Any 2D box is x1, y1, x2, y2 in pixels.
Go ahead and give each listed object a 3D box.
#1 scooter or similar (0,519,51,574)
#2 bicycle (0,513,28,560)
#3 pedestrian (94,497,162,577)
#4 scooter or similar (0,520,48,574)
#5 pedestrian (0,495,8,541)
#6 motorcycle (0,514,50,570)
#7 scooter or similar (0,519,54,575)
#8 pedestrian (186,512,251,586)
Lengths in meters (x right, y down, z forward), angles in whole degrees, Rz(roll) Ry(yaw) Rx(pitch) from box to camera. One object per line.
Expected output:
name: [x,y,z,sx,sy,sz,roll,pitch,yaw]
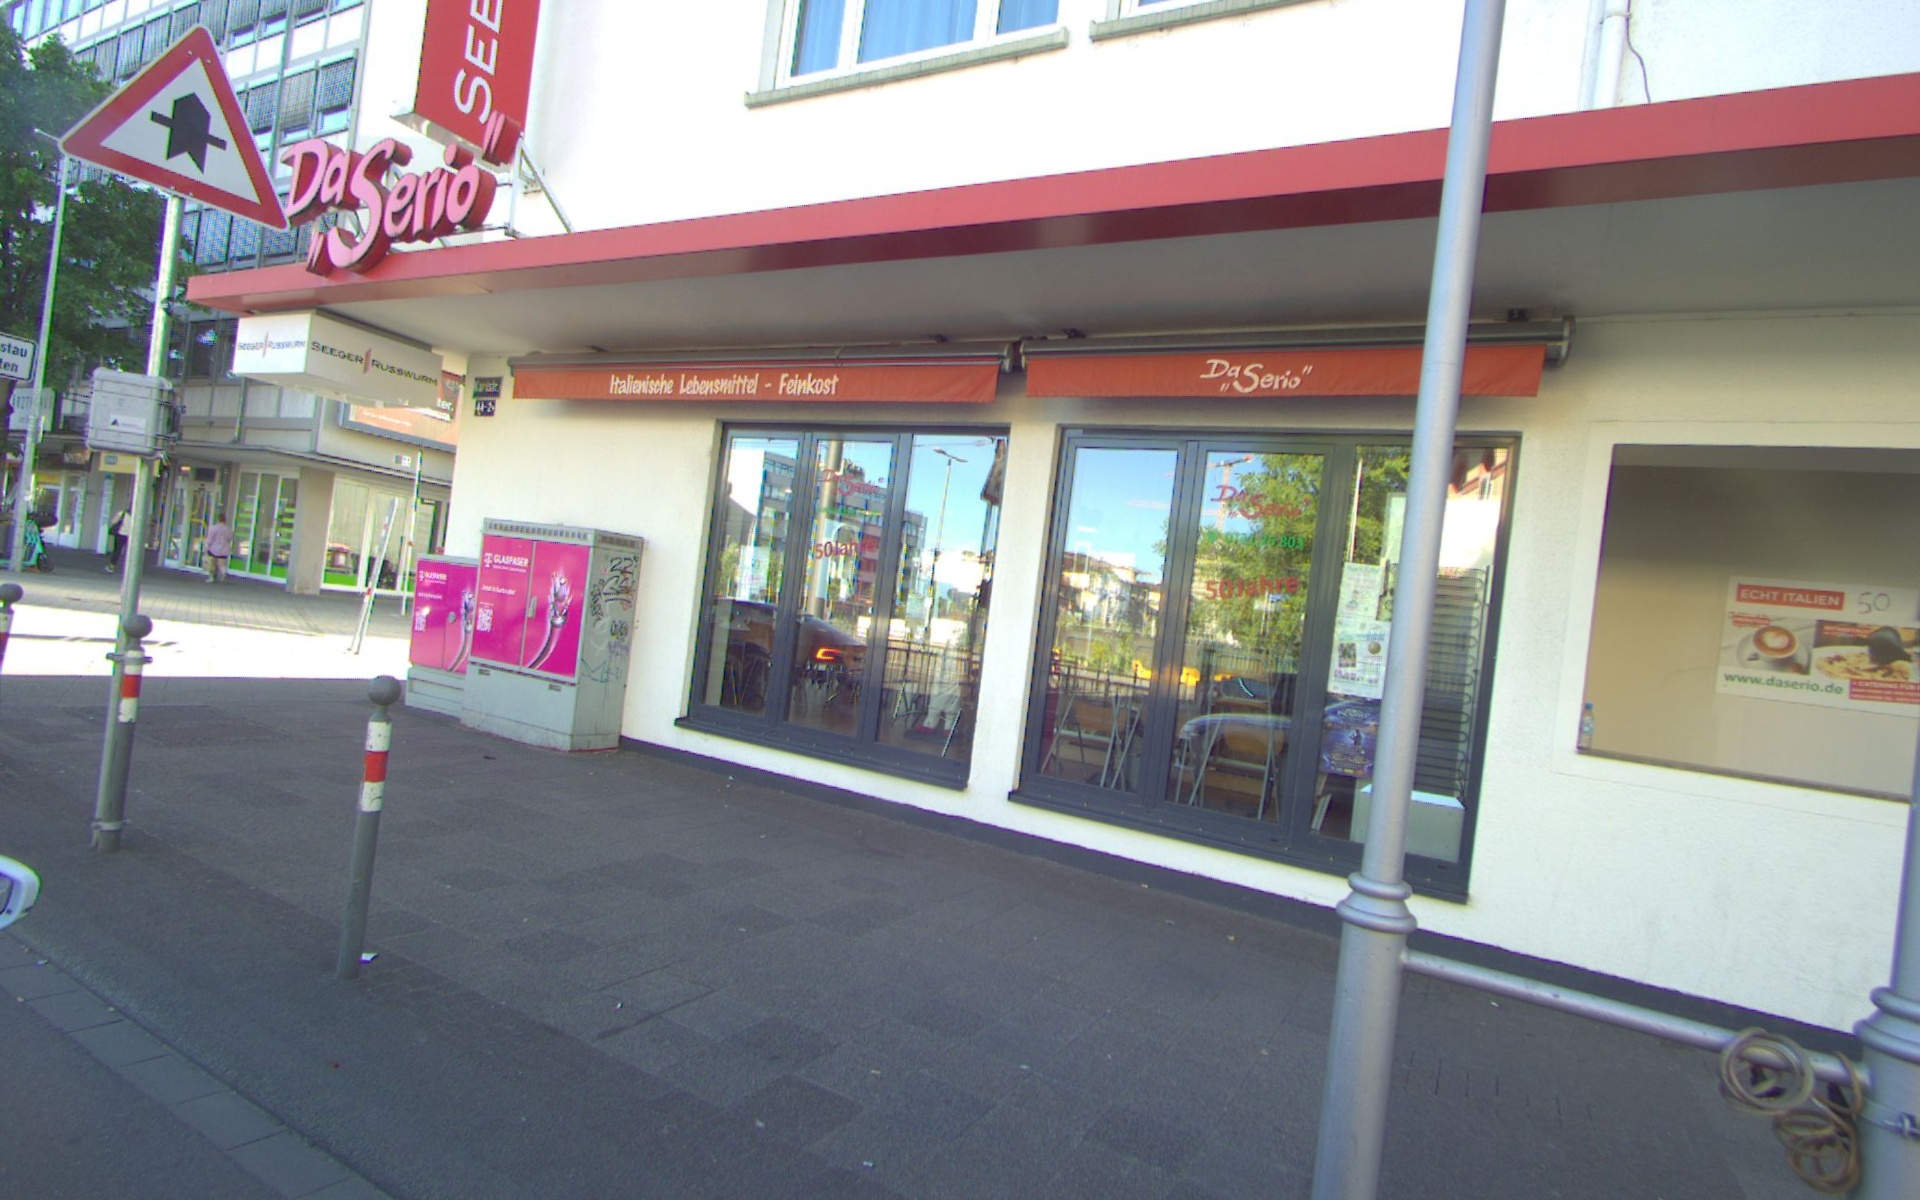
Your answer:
scooter or similar: [-19.847,-1.123,21.180,0.157,1.051,0.957,7,-1,34]
bicycle: [-23.174,-1.560,23.608,0.392,1.069,1.856,7,0,21]
pedestrian: [-19.625,-1.476,23.746,0.865,1.727,0.844,6,-1,31]
scooter or similar: [-20.010,-1.131,21.291,0.157,1.039,0.964,7,-1,34]
pedestrian: [-30.513,-2.621,31.637,0.613,1.438,0.644,6,-1,42]
motorcycle: [-21.551,-1.362,22.362,0.495,1.142,1.791,7,-2,29]
scooter or similar: [-19.685,-1.119,21.070,0.157,1.056,0.964,7,-1,34]
pedestrian: [-17.950,-1.235,24.362,0.865,1.621,0.844,6,-1,31]
